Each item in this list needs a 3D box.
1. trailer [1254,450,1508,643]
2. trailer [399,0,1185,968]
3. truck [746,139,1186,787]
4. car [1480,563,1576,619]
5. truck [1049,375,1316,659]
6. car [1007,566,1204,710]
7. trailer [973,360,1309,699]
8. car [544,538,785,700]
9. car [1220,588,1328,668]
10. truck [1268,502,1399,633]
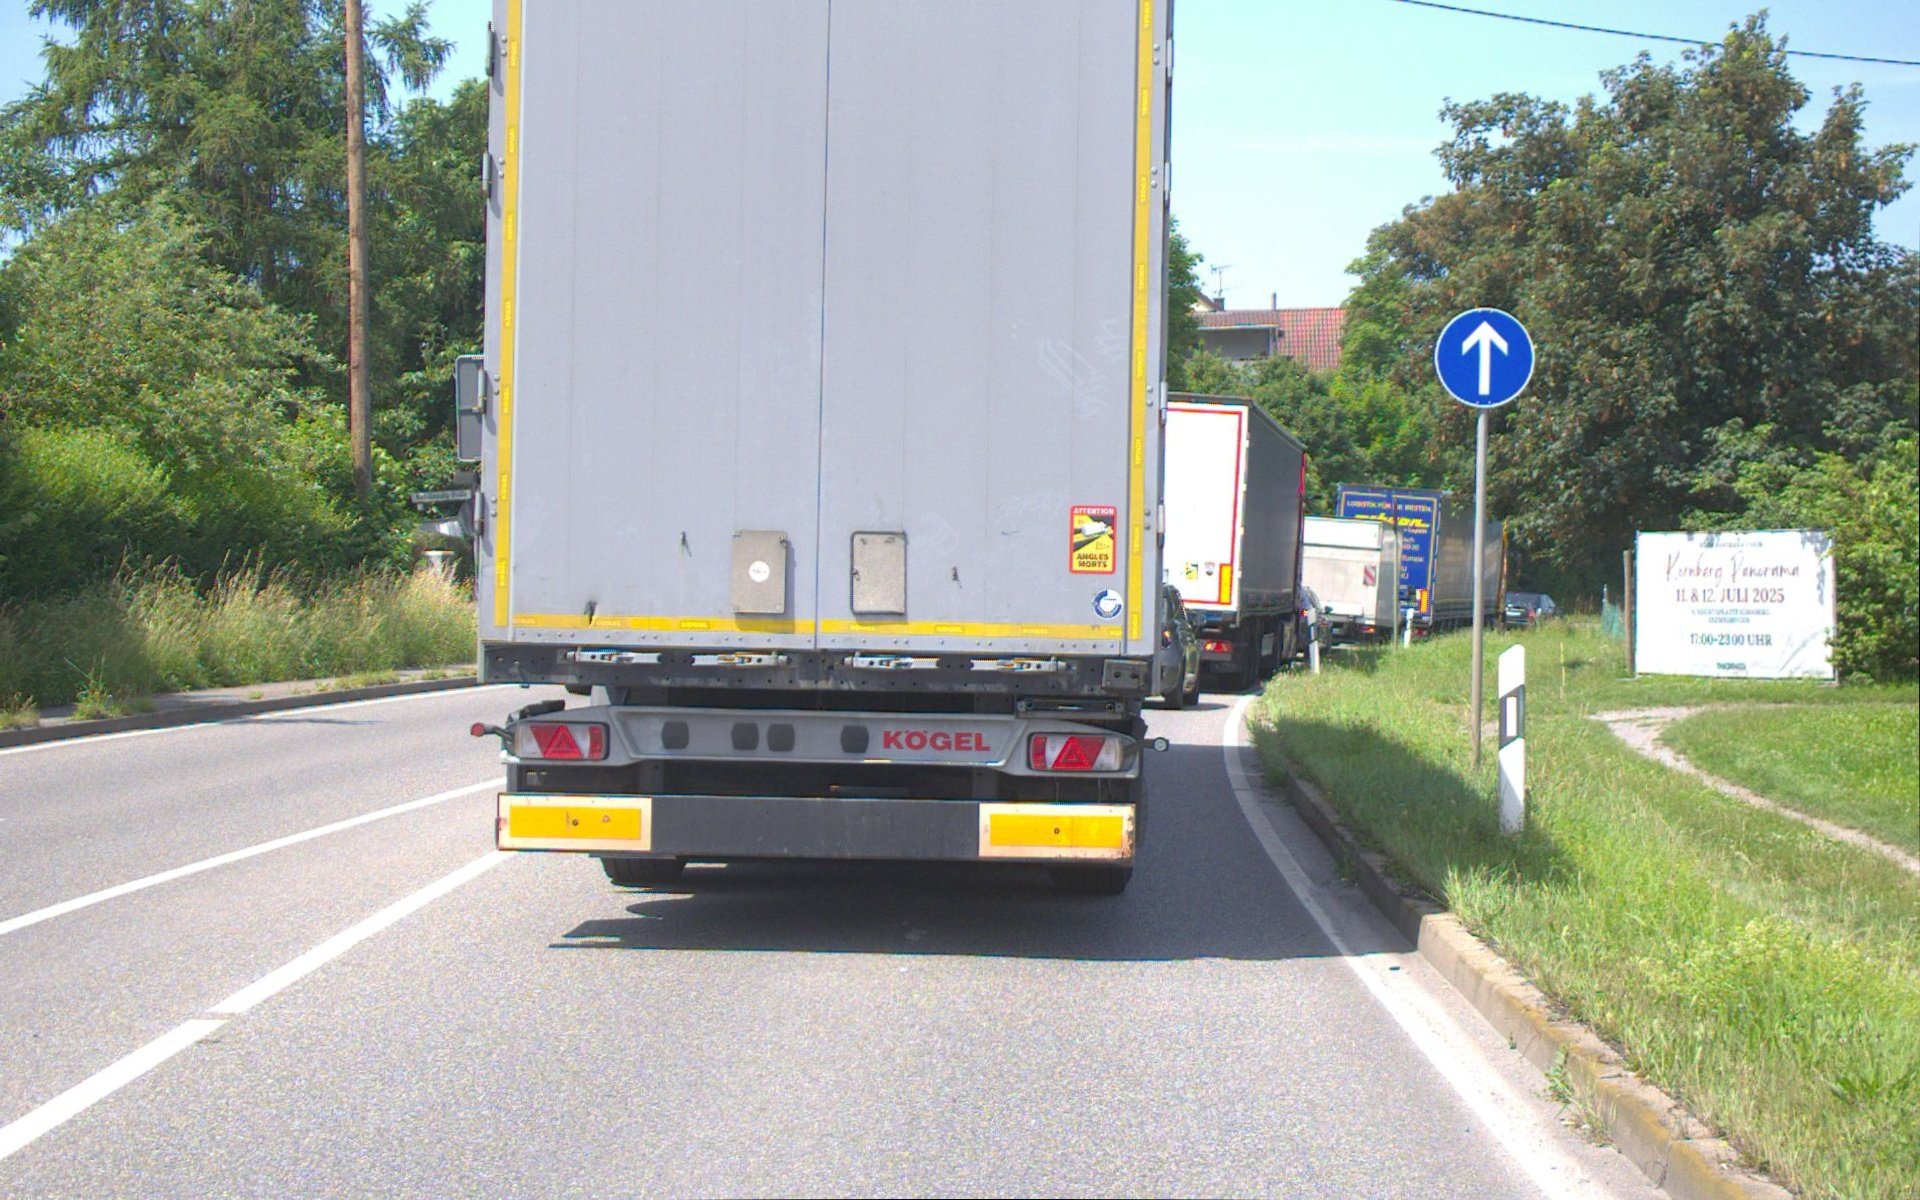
[{"bbox_3d":[11.482,-1.448,91.534,5.182,4.612,15.887,1,1,12],"label":"trailer"},{"bbox_3d":[-0.232,-0.904,18.564,2.787,4.191,12.110,1,1,4],"label":"trailer"},{"bbox_3d":[0.234,-0.955,25.350,2.746,4.151,6.142,1,1,4],"label":"truck"},{"bbox_3d":[17.810,-0.296,107.682,1.996,1.678,3.995,1,1,24],"label":"car"},{"bbox_3d":[3.966,-1.384,59.229,3.938,4.559,7.149,1,1,9],"label":"truck"},{"bbox_3d":[1.768,0.405,40.533,1.994,1.525,3.999,1,1,7],"label":"car"},{"bbox_3d":[3.056,-1.012,52.435,3.892,4.505,12.709,1,1,8],"label":"trailer"},{"bbox_3d":[-3.216,0.158,38.273,1.846,1.649,4.403,1,1,6],"label":"car"},{"bbox_3d":[6.393,0.539,69.609,1.842,1.481,3.998,1,1,10],"label":"car"},{"bbox_3d":[8.520,-0.761,77.999,2.421,2.828,5.410,1,1,11],"label":"truck"}]
